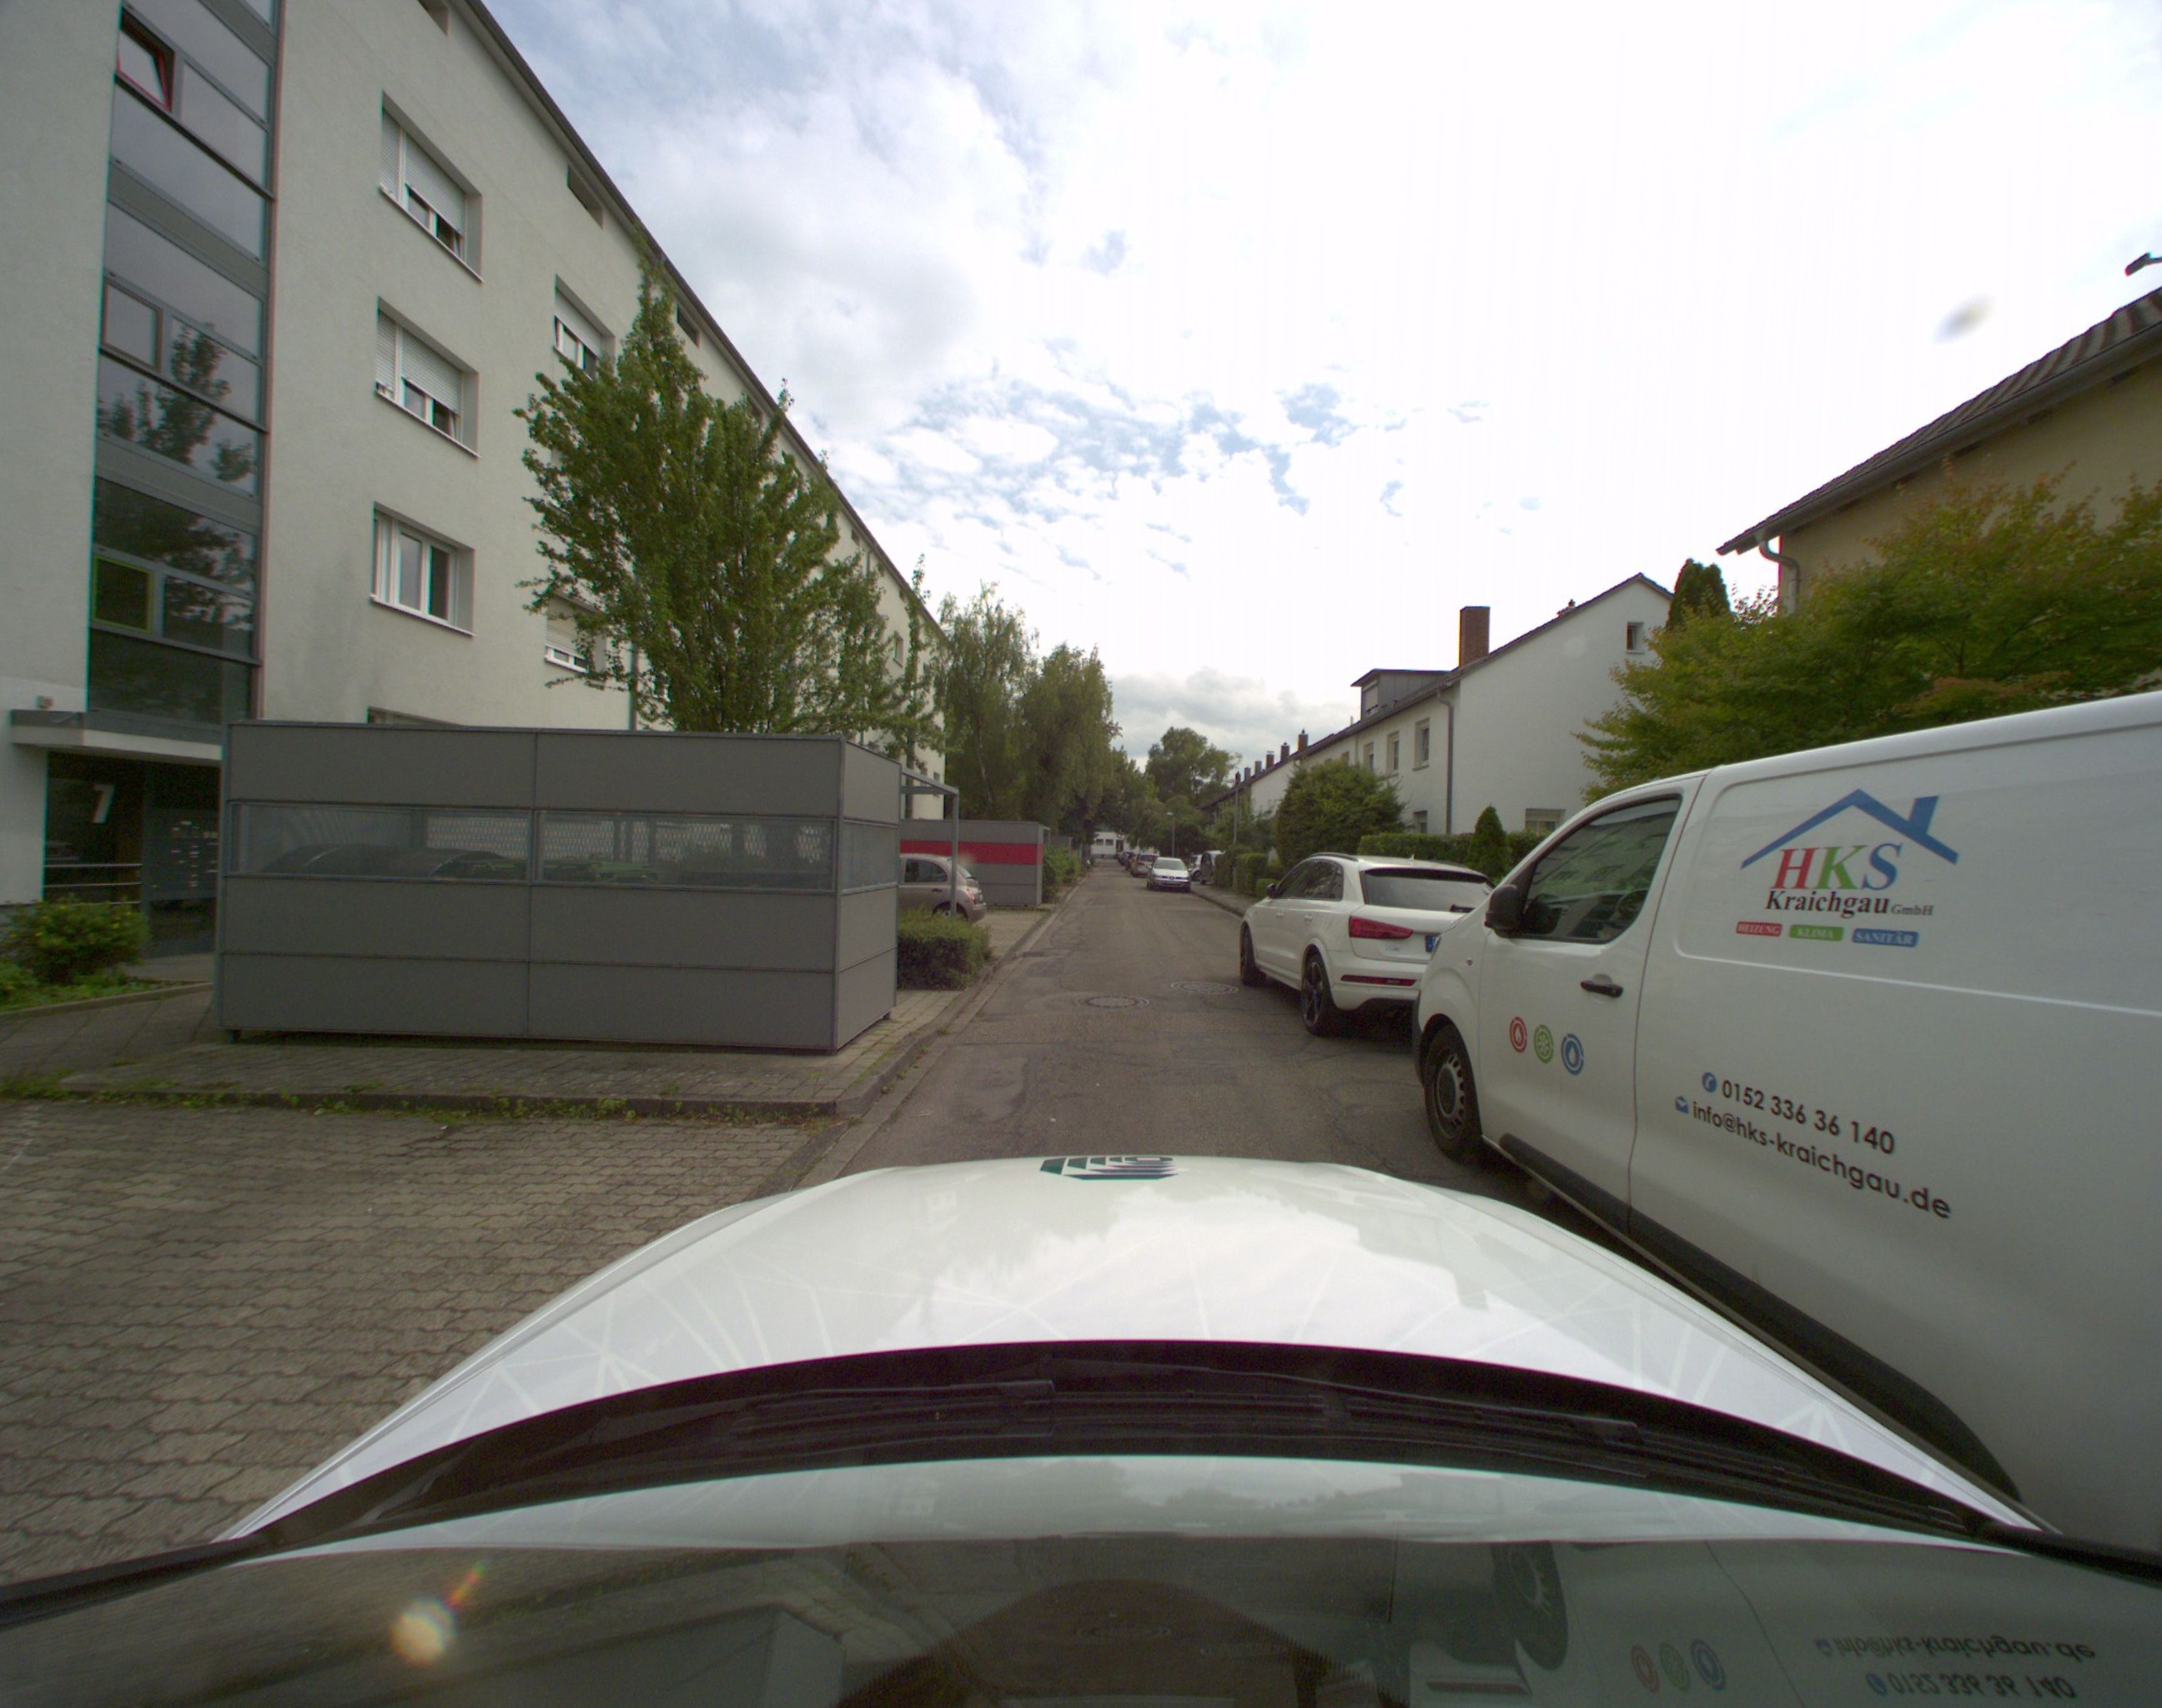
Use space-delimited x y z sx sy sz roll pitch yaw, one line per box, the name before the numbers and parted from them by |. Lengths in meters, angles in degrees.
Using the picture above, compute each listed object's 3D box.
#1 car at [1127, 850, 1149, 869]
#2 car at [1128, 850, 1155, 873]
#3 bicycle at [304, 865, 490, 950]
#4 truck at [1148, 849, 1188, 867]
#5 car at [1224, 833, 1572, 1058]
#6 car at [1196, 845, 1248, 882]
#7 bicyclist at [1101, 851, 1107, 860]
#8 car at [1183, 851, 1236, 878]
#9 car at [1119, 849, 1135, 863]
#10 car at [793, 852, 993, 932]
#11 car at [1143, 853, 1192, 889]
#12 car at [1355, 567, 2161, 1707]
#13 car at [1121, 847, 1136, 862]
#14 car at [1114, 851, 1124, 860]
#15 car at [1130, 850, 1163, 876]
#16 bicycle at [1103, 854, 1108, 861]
car | 5.152 0.505 74.507 1.818 1.581 4.195 3 0 2
car | 4.529 0.519 61.448 1.818 1.581 4.003 3 0 2
bicycle | -8.939 0.674 10.726 1.820 1.026 0.474 1 0 -39
truck | 9.879 0.409 92.643 4.374 2.013 2.000 0 0 1
car | 2.794 0.693 8.297 1.819 1.635 4.160 3 0 -1
car | 7.283 0.494 42.405 1.820 1.777 4.337 -1 0 -2
bicyclist | 3.967 0.212 139.735 0.795 1.511 0.935 3 0 4
car | 7.544 0.604 47.966 2.808 1.569 1.740 -1 0 -1
car | 5.639 0.215 99.699 1.818 1.581 4.003 3 0 2
car | -3.576 0.705 15.978 3.553 1.480 1.709 0 0 -3
car | 3.718 0.711 35.748 1.818 1.370 4.333 3 0 2
car | 2.682 0.561 2.584 1.897 1.964 5.255 3 0 1
car | 6.474 0.028 111.289 1.818 1.883 4.003 3 0 2
car | 7.150 0.209 152.178 1.818 1.581 4.003 3 0 2
car | 4.349 0.546 54.273 1.819 1.581 4.000 3 0 0
bicycle | 4.137 0.552 139.639 0.686 1.131 2.582 3 0 4
